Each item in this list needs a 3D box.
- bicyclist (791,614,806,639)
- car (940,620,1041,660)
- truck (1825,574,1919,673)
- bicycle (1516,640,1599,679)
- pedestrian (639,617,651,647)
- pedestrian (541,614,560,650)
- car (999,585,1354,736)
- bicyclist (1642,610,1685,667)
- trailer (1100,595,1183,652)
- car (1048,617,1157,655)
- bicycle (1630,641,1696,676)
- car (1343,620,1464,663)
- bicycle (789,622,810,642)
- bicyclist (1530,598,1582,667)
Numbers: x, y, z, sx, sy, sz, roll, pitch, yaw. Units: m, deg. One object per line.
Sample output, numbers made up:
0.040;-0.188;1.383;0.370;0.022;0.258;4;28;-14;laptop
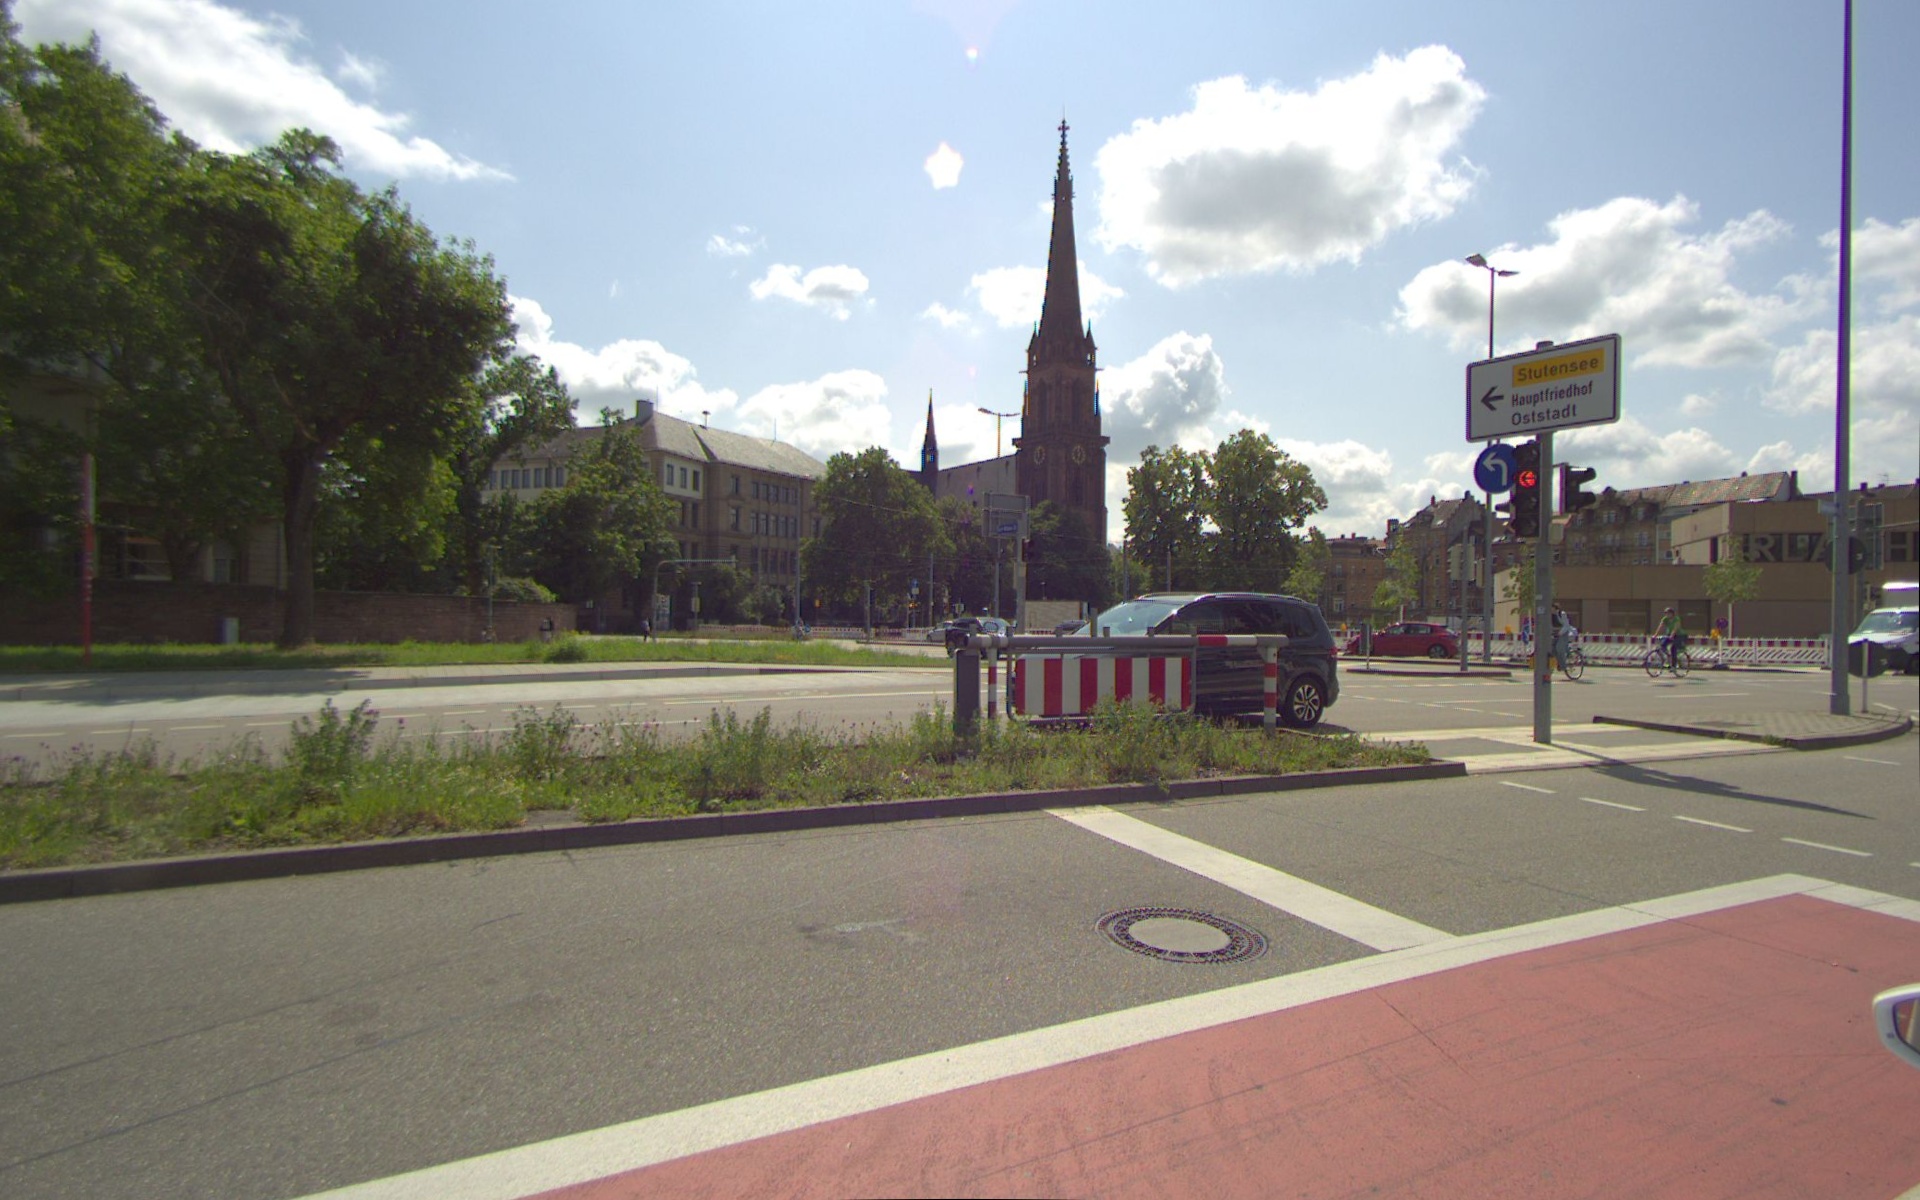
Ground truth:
-10.202;1.650;63.473;0.659;1.553;0.642;2;0;-29;bicyclist
1.175;1.599;40.810;1.978;1.505;4.472;1;-1;-31;car
32.907;0.879;33.705;7.205;3.108;1.995;2;0;-14;truck
14.432;1.416;24.241;2.082;0.901;0.773;1;-1;-29;bicycle
-19.605;1.981;62.524;0.561;1.844;0.436;2;0;41;pedestrian
-20.283;1.585;49.756;0.478;1.718;0.679;2;0;20;pedestrian
2.750;0.715;12.685;4.101;1.645;1.874;2;0;-27;car
18.521;1.001;26.434;0.824;1.481;0.564;1;-1;-21;bicyclist
9.973;1.275;55.428;4.278;2.952;2.001;2;0;5;trailer
6.021;1.503;42.805;1.981;1.505;4.622;1;-1;-35;car
18.478;1.528;26.413;1.717;0.901;0.566;1;-1;-21;bicycle
16.749;1.540;37.998;3.846;1.505;1.991;0;-1;40;car
-10.154;2.038;63.384;0.659;1.161;2.053;2;0;-28;bicycle
14.356;0.775;24.206;0.832;1.640;0.773;1;-1;-28;bicyclist
